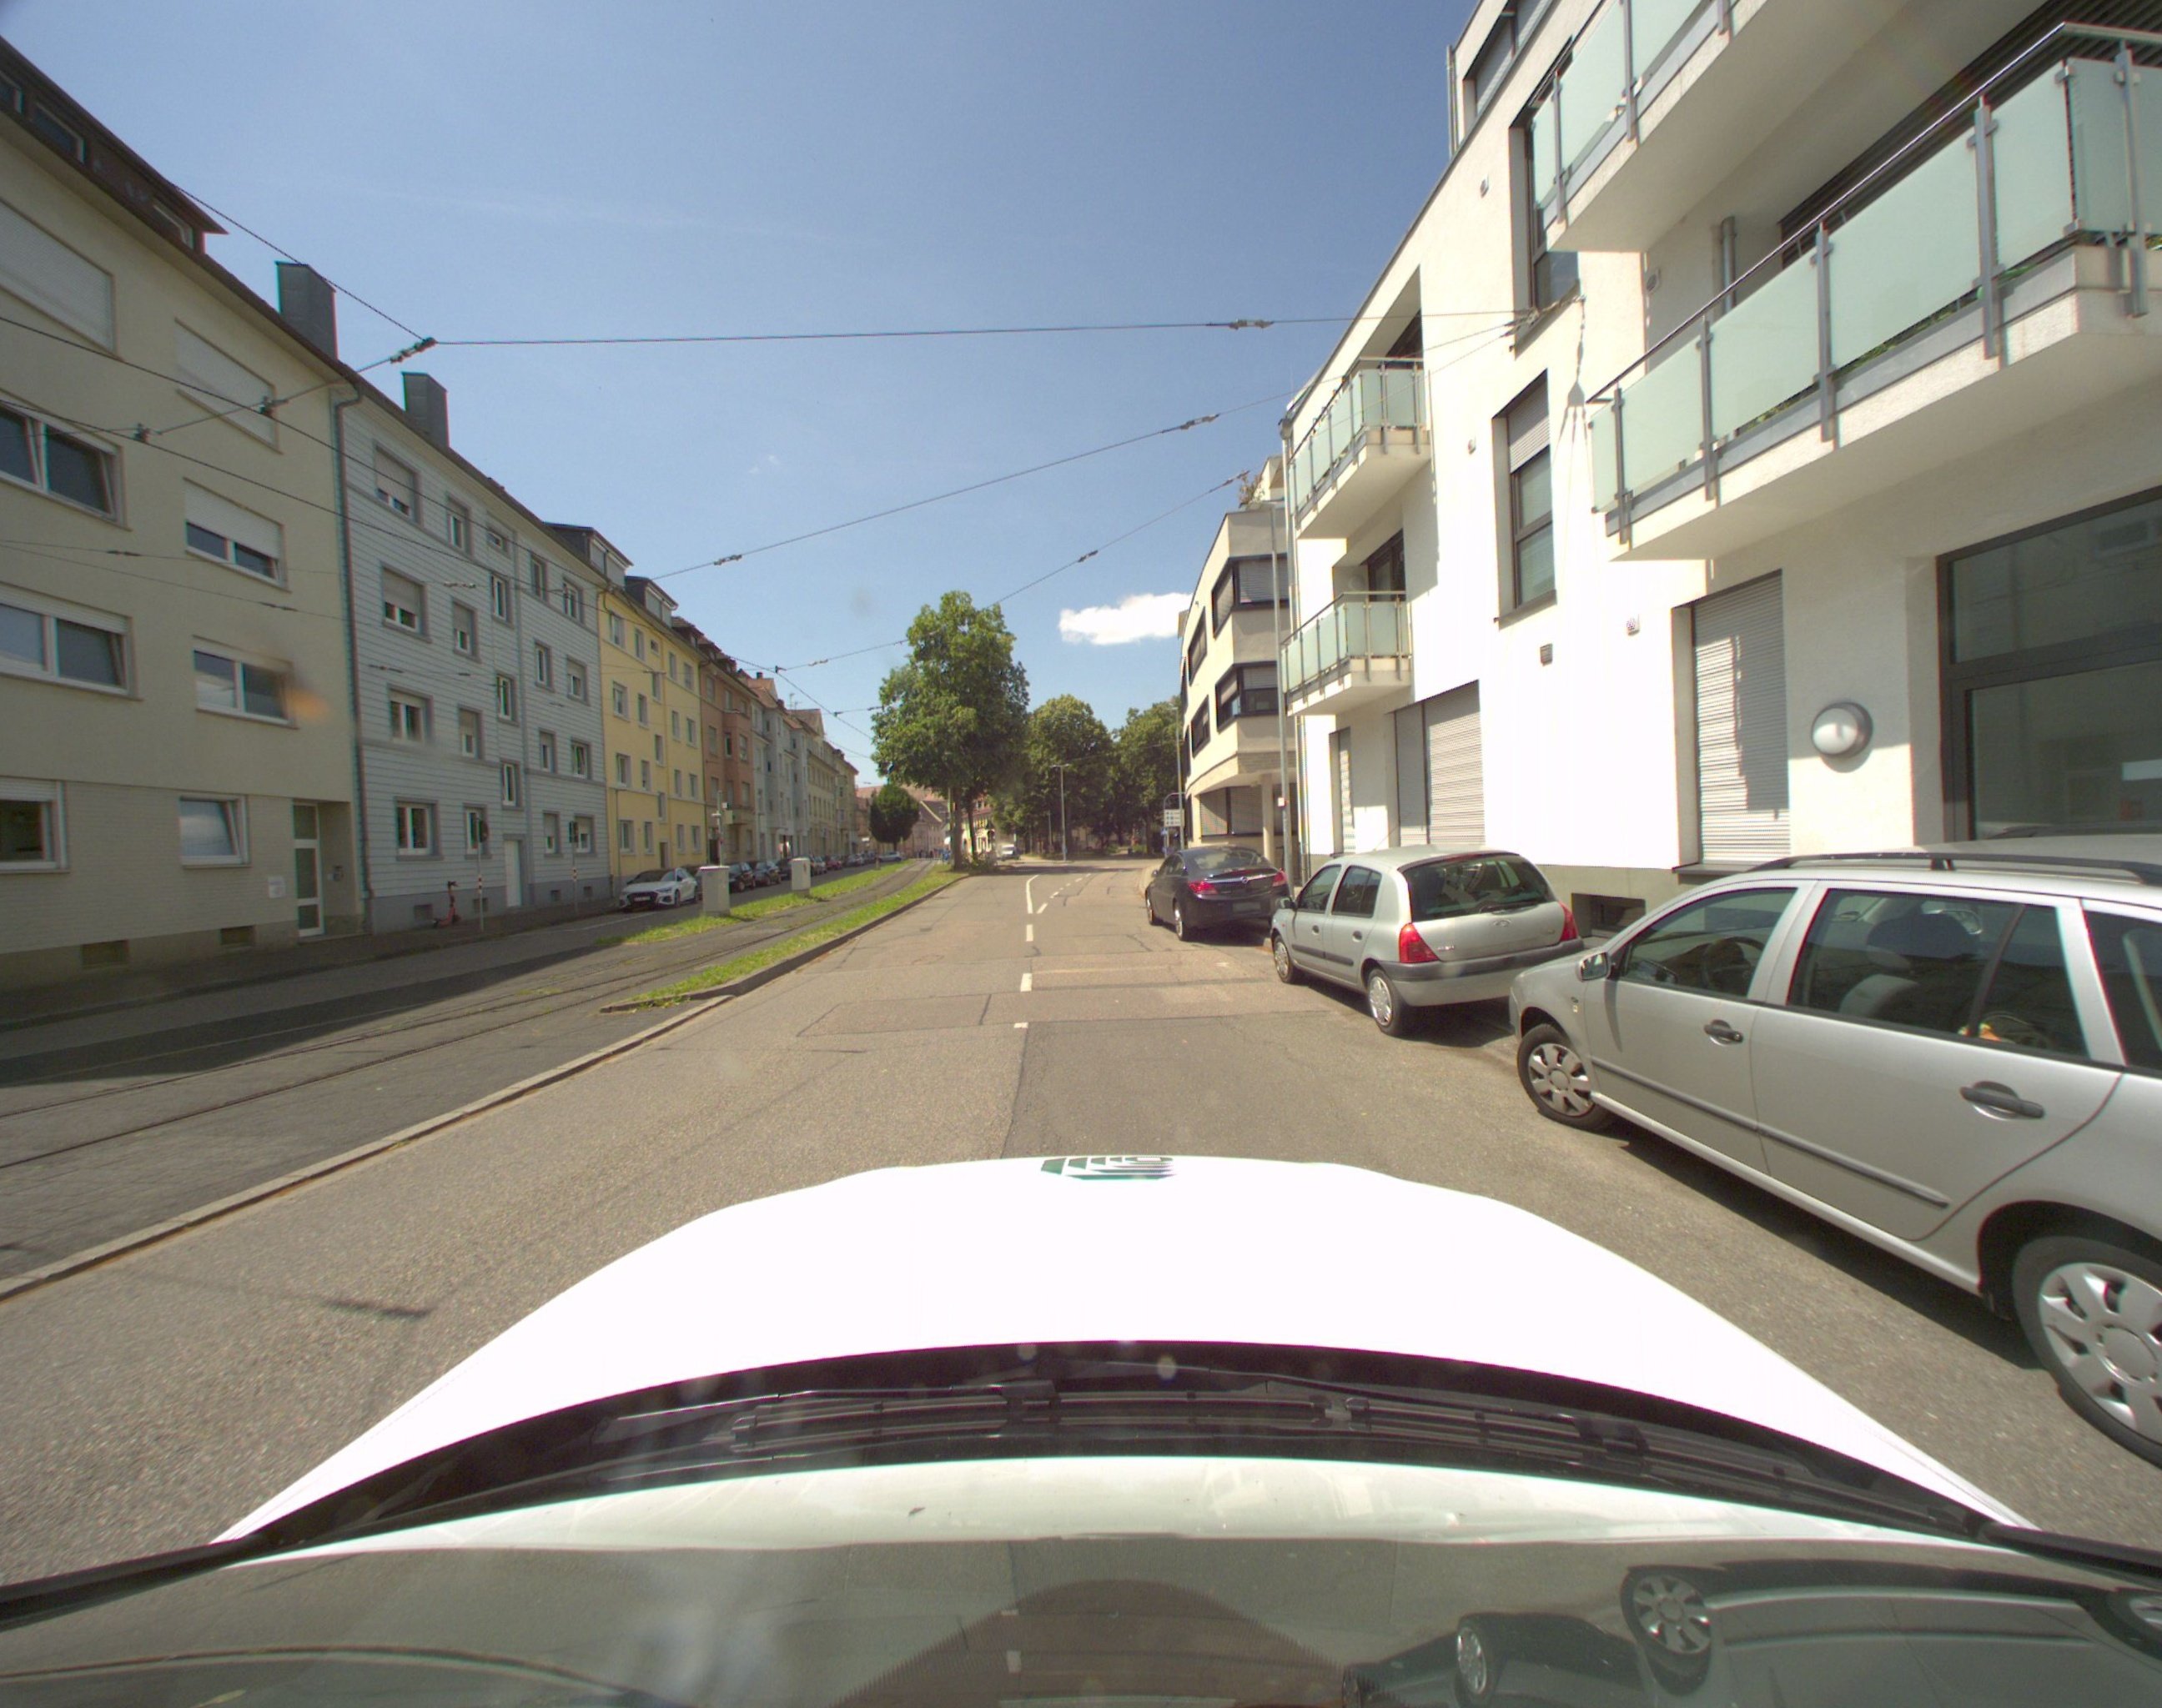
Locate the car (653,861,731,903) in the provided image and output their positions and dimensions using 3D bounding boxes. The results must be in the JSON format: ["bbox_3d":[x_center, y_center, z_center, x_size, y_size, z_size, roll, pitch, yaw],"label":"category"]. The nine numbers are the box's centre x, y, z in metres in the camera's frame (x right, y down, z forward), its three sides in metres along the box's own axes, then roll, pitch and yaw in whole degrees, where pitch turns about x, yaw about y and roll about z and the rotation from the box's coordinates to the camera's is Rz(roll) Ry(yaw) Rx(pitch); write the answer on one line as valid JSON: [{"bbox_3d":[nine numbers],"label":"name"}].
[{"bbox_3d":[-16.530,1.129,34.853,1.929,1.505,4.309,-4,1,-11],"label":"car"}]

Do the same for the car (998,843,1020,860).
[{"bbox_3d":[-8.054,-0.278,90.677,1.993,1.826,4.408,-2,1,-10],"label":"car"}]

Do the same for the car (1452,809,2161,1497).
[{"bbox_3d":[3.216,0.638,3.011,1.721,1.433,4.042,-6,0,0],"label":"car"}]

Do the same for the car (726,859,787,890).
[{"bbox_3d":[-17.877,1.087,45.077,1.927,1.397,4.849,-4,1,-8],"label":"car"}]

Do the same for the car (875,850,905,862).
[{"bbox_3d":[-28.221,0.280,120.322,4.208,1.504,1.995,-4,1,-14],"label":"car"}]

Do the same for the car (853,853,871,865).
[{"bbox_3d":[-27.025,0.595,100.462,1.686,1.277,3.278,-4,1,-9],"label":"car"}]

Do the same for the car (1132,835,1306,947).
[{"bbox_3d":[2.232,0.558,14.520,1.798,1.509,4.538,-6,0,-6],"label":"car"}]

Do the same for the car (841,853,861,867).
[{"bbox_3d":[-25.400,0.696,90.018,1.686,1.360,3.845,-4,1,-9],"label":"car"}]

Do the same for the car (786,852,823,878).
[{"bbox_3d":[-20.451,0.792,60.296,1.836,1.685,4.129,-4,1,-10],"label":"car"}]

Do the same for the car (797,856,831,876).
[{"bbox_3d":[-21.242,0.916,64.899,1.807,1.356,4.236,-4,1,-10],"label":"car"}]

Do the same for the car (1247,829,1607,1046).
[{"bbox_3d":[2.961,0.612,7.896,1.590,1.433,3.701,-6,0,-4],"label":"car"}]

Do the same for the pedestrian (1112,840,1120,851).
[{"bbox_3d":[4.449,-1.087,103.240,0.901,1.251,1.150,-2,2,6],"label":"pedestrian"}]

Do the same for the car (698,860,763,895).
[{"bbox_3d":[-16.963,1.087,39.634,1.830,1.400,4.129,-4,1,-9],"label":"car"}]

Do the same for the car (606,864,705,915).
[{"bbox_3d":[-15.317,1.210,29.603,1.929,1.451,4.359,-5,1,-11],"label":"car"}]

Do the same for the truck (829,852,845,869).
[{"bbox_3d":[-23.807,0.602,79.409,1.126,1.494,2.585,-4,1,-10],"label":"truck"}]

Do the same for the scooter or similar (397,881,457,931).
[{"bbox_3d":[-17.298,1.358,21.570,0.638,1.223,1.317,-1,1,-9],"label":"scooter or similar"}]

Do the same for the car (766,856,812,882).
[{"bbox_3d":[-19.553,0.949,54.758,1.927,1.490,4.848,-4,1,-9],"label":"car"}]

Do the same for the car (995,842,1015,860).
[{"bbox_3d":[-9.273,-0.395,99.102,2.048,2.002,5.235,-2,1,-8],"label":"car"}]

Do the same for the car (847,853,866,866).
[{"bbox_3d":[-26.353,0.611,95.653,1.686,1.390,3.845,-4,1,-9],"label":"car"}]

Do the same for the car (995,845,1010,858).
[{"bbox_3d":[-10.308,-0.297,106.477,1.782,1.623,4.473,-2,1,-8],"label":"car"}]

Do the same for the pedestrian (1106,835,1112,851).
[{"bbox_3d":[3.564,-1.409,103.367,0.744,1.910,0.685,-2,2,6],"label":"pedestrian"}]

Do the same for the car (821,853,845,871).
[{"bbox_3d":[-22.855,0.724,75.232,1.571,1.451,3.614,-4,1,-9],"label":"car"}]
